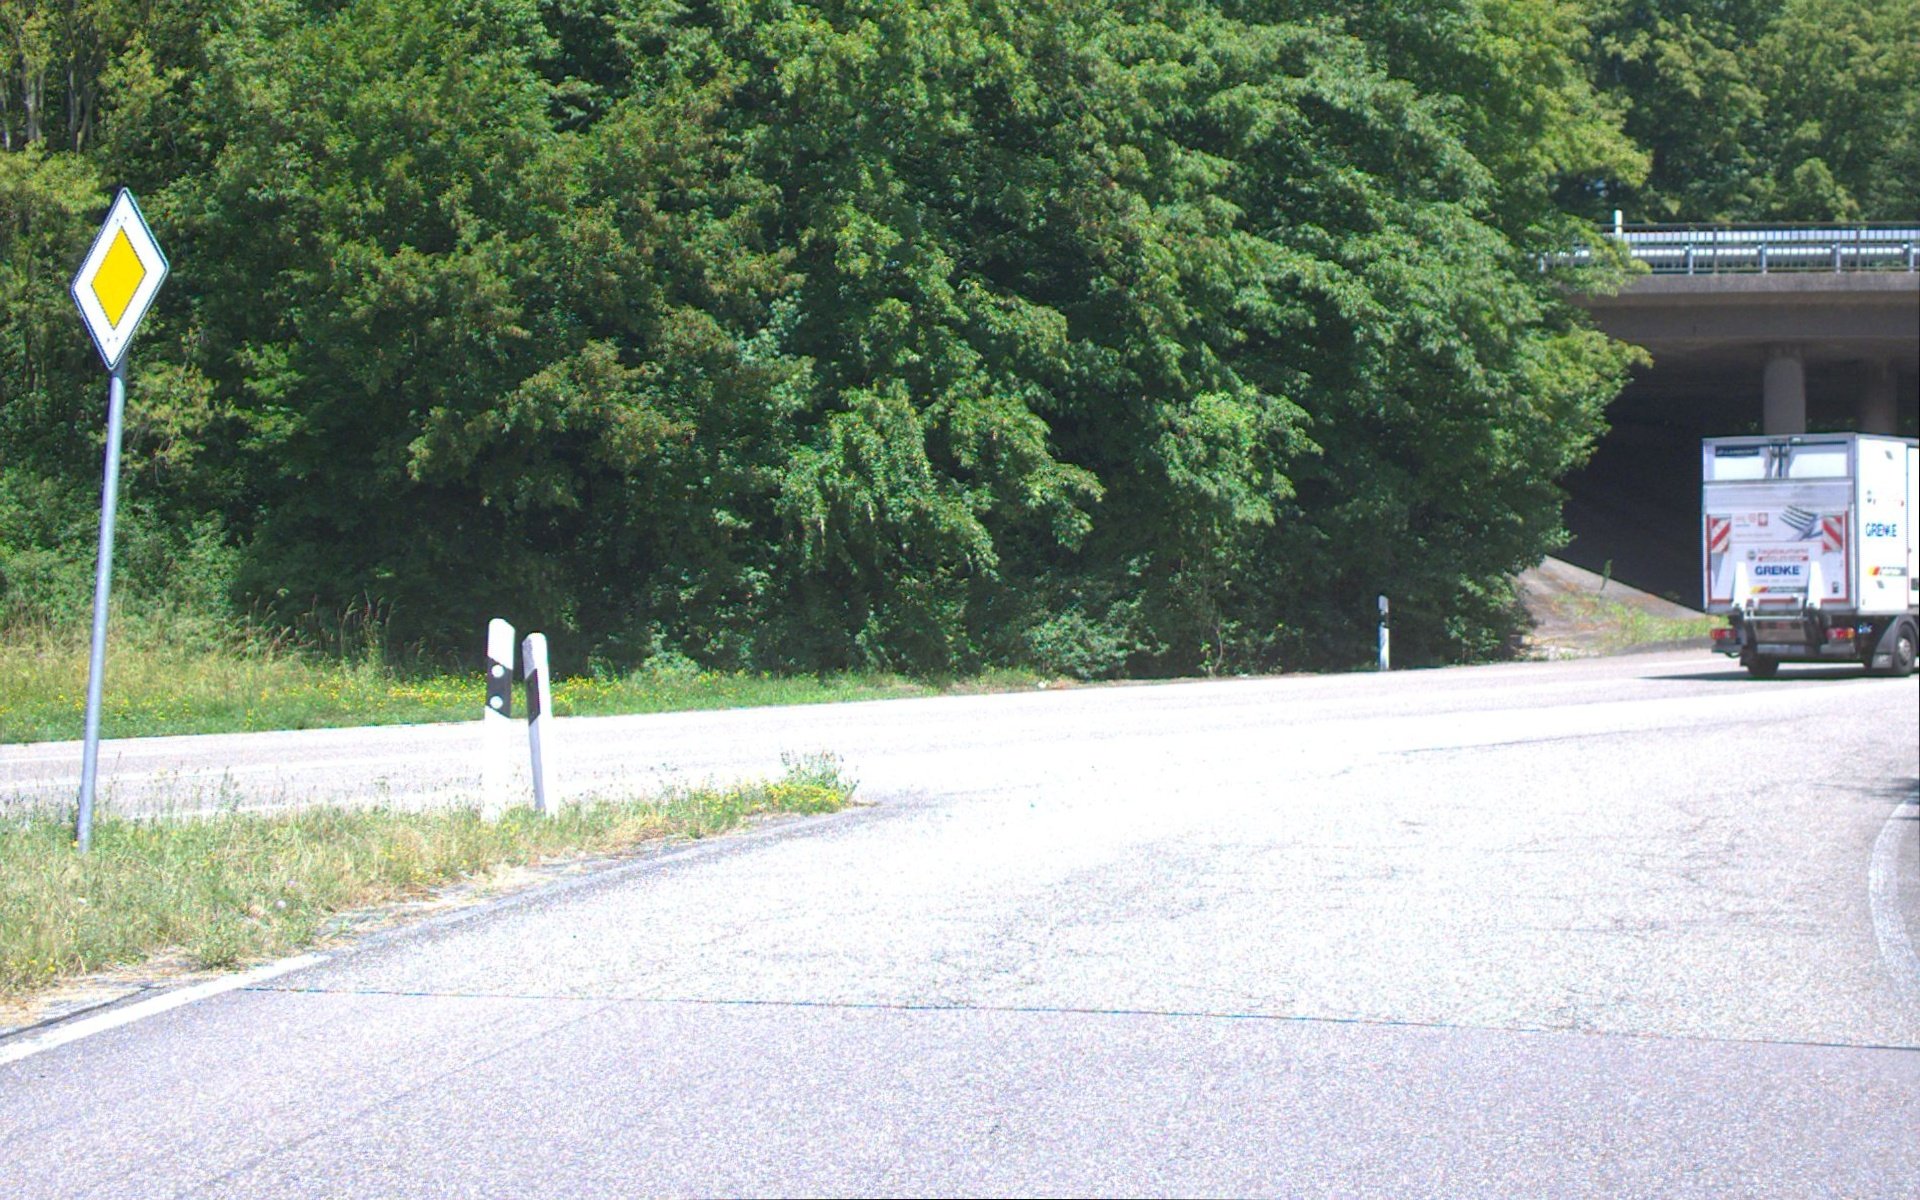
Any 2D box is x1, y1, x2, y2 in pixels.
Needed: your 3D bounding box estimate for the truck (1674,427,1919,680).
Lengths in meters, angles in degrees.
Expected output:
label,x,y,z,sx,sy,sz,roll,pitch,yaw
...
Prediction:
label,x,y,z,sx,sy,sz,roll,pitch,yaw
truck,11.396,-0.574,43.431,2.245,2.974,5.881,0,0,38
